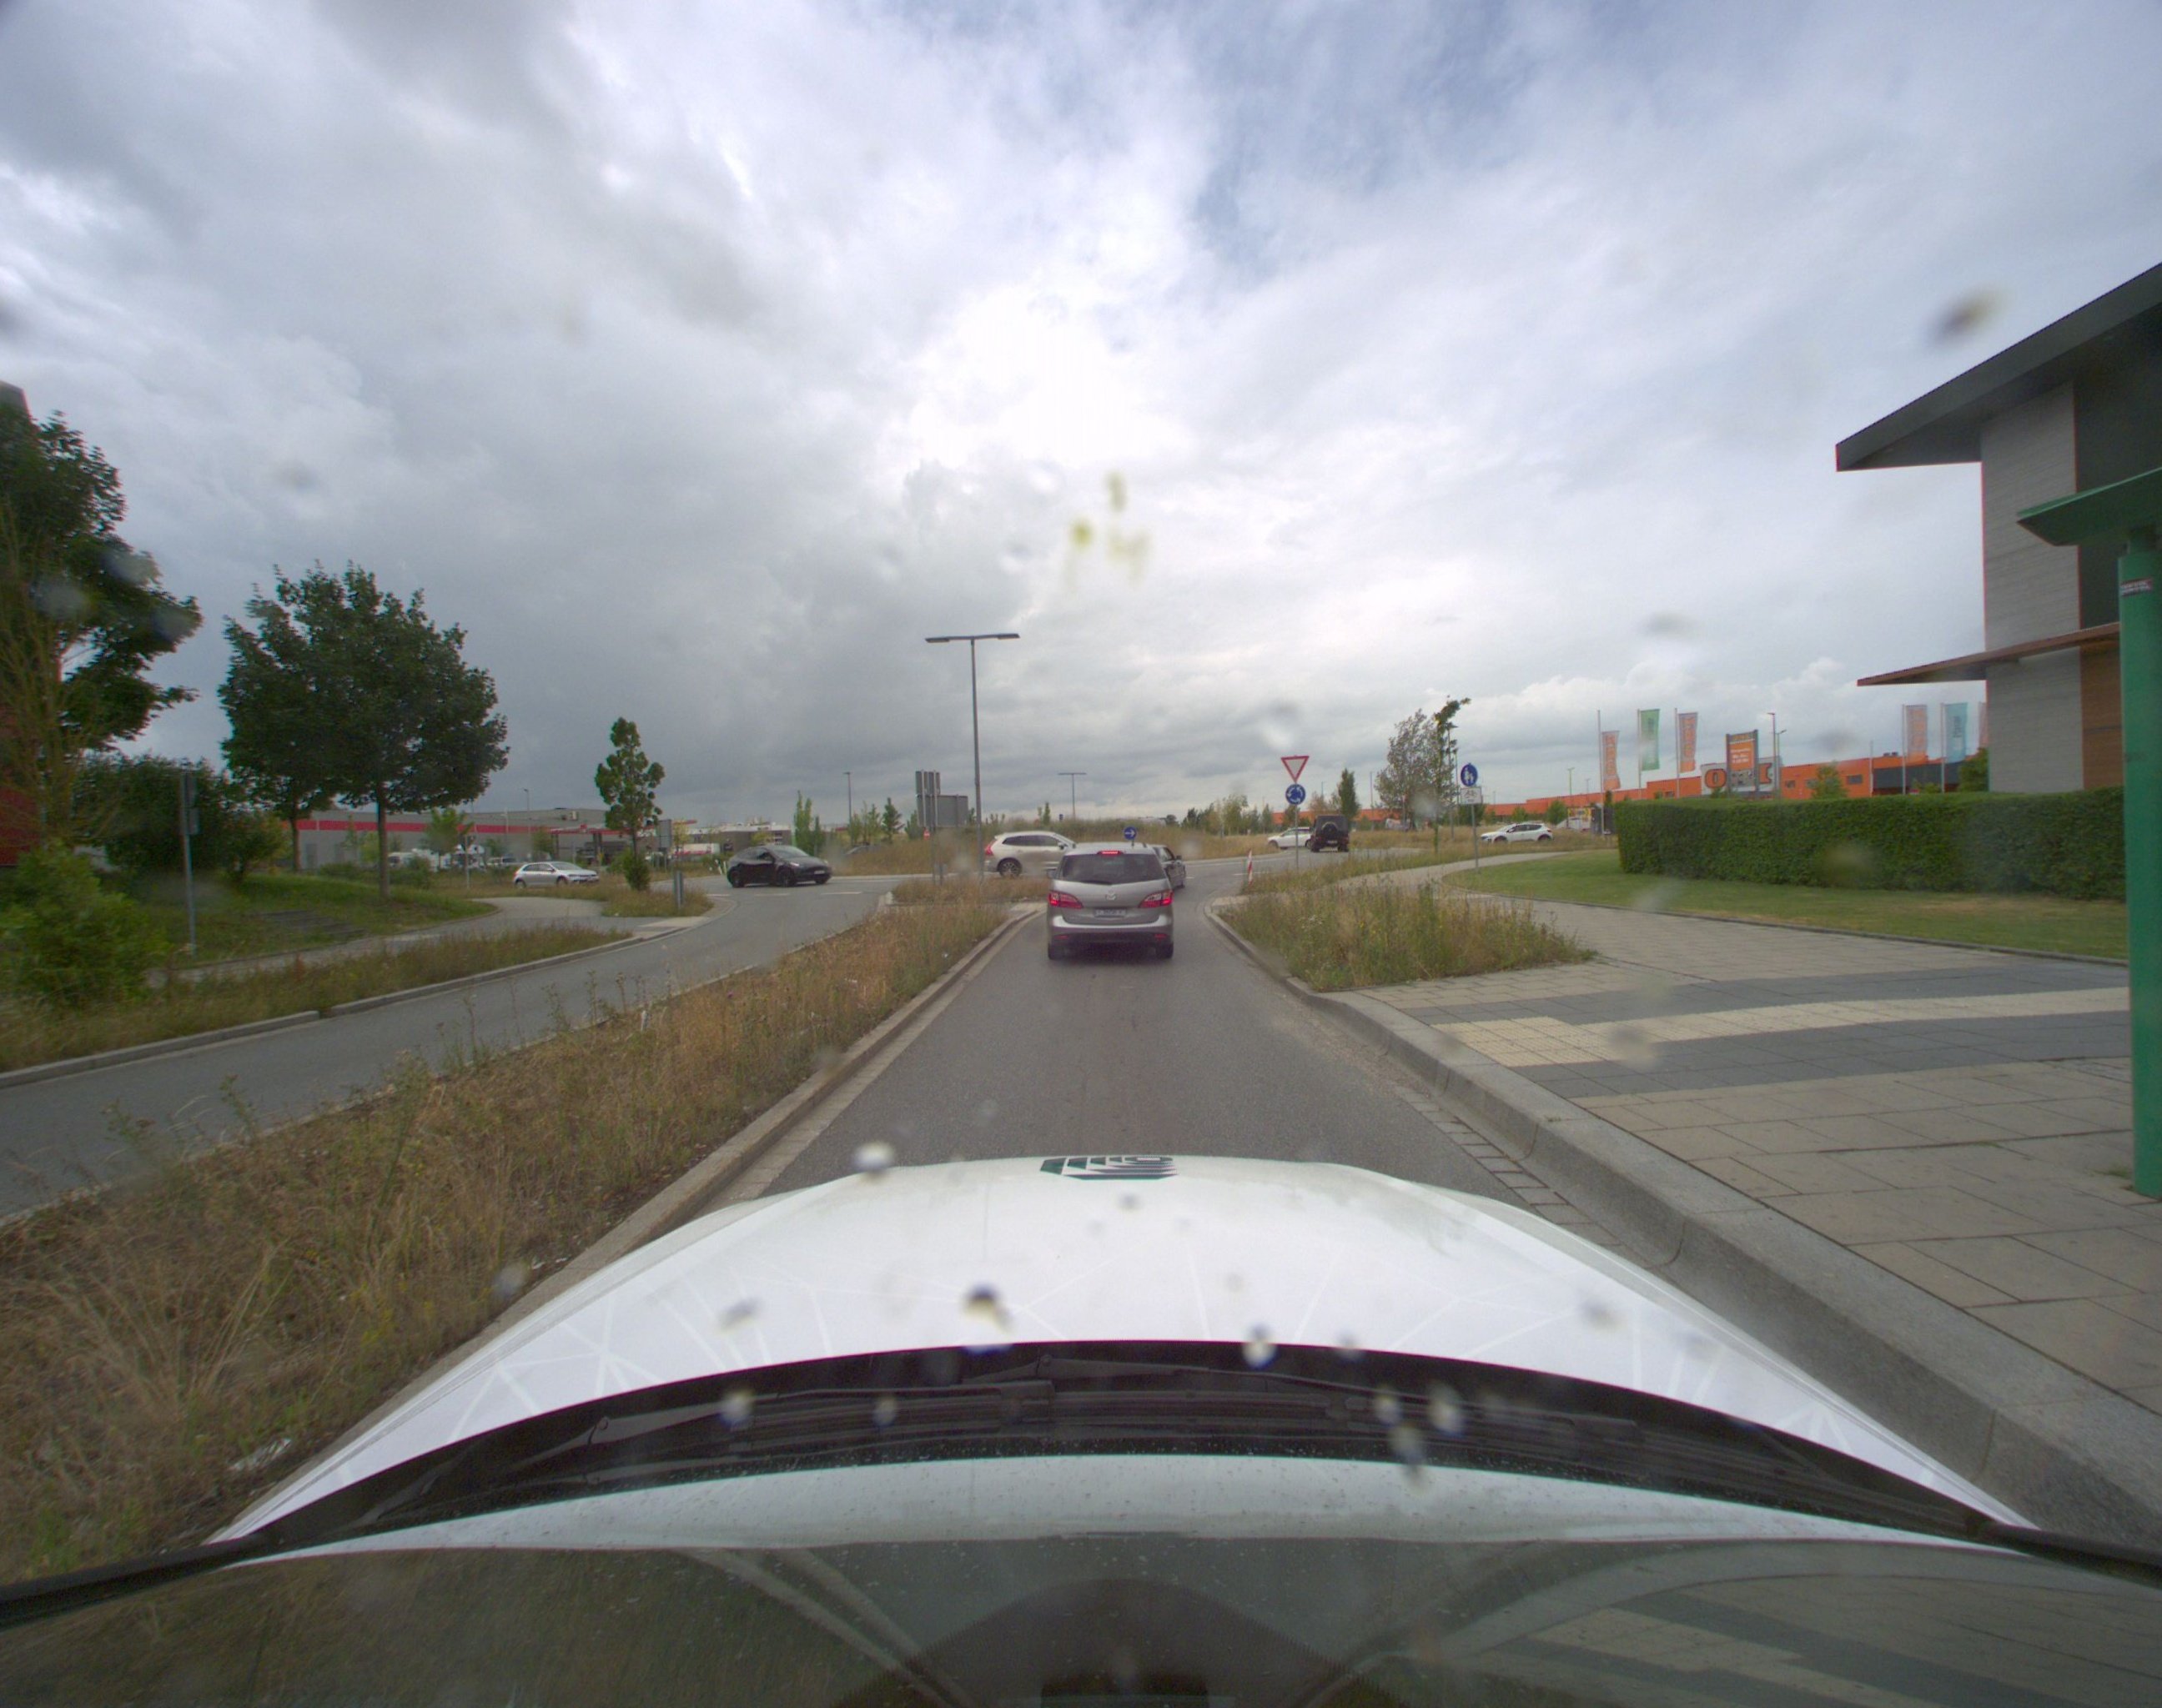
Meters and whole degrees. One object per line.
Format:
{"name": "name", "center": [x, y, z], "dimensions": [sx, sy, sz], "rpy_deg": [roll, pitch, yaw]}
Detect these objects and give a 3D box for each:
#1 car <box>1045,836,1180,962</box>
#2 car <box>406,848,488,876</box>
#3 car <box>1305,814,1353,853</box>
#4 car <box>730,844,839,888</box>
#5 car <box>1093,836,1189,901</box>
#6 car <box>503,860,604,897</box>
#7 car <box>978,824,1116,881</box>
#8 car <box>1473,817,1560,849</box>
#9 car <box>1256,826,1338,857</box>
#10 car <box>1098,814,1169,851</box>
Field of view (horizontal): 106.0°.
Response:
{"name": "car", "center": [0.449, 0.542, 12.477], "dimensions": [1.732, 1.598, 3.999], "rpy_deg": [0, 1, 1]}
{"name": "car", "center": [-65.593, 0.828, 84.453], "dimensions": [2.455, 2.820, 7.688], "rpy_deg": [0, 0, 0]}
{"name": "car", "center": [13.338, -1.161, 43.963], "dimensions": [2.063, 1.886, 4.793], "rpy_deg": [-2, 3, 13]}
{"name": "car", "center": [-11.746, 0.447, 32.095], "dimensions": [4.714, 1.498, 1.957], "rpy_deg": [-1, 3, 42]}
{"name": "car", "center": [1.707, 0.310, 21.787], "dimensions": [1.724, 1.403, 4.016], "rpy_deg": [0, 4, 17]}
{"name": "car", "center": [-25.544, 1.187, 39.443], "dimensions": [3.957, 1.464, 1.821], "rpy_deg": [-3, 2, 15]}
{"name": "car", "center": [-1.193, -0.080, 29.608], "dimensions": [4.745, 1.738, 1.944], "rpy_deg": [-3, 3, -1]}
{"name": "car", "center": [26.444, -1.293, 49.543], "dimensions": [4.307, 1.648, 1.873], "rpy_deg": [-3, 3, 3]}
{"name": "car", "center": [14.263, -0.818, 53.912], "dimensions": [4.713, 1.886, 2.098], "rpy_deg": [-1, 3, 38]}
{"name": "car", "center": [3.902, -1.588, 60.448], "dimensions": [4.715, 2.543, 2.097], "rpy_deg": [-2, 3, 26]}
